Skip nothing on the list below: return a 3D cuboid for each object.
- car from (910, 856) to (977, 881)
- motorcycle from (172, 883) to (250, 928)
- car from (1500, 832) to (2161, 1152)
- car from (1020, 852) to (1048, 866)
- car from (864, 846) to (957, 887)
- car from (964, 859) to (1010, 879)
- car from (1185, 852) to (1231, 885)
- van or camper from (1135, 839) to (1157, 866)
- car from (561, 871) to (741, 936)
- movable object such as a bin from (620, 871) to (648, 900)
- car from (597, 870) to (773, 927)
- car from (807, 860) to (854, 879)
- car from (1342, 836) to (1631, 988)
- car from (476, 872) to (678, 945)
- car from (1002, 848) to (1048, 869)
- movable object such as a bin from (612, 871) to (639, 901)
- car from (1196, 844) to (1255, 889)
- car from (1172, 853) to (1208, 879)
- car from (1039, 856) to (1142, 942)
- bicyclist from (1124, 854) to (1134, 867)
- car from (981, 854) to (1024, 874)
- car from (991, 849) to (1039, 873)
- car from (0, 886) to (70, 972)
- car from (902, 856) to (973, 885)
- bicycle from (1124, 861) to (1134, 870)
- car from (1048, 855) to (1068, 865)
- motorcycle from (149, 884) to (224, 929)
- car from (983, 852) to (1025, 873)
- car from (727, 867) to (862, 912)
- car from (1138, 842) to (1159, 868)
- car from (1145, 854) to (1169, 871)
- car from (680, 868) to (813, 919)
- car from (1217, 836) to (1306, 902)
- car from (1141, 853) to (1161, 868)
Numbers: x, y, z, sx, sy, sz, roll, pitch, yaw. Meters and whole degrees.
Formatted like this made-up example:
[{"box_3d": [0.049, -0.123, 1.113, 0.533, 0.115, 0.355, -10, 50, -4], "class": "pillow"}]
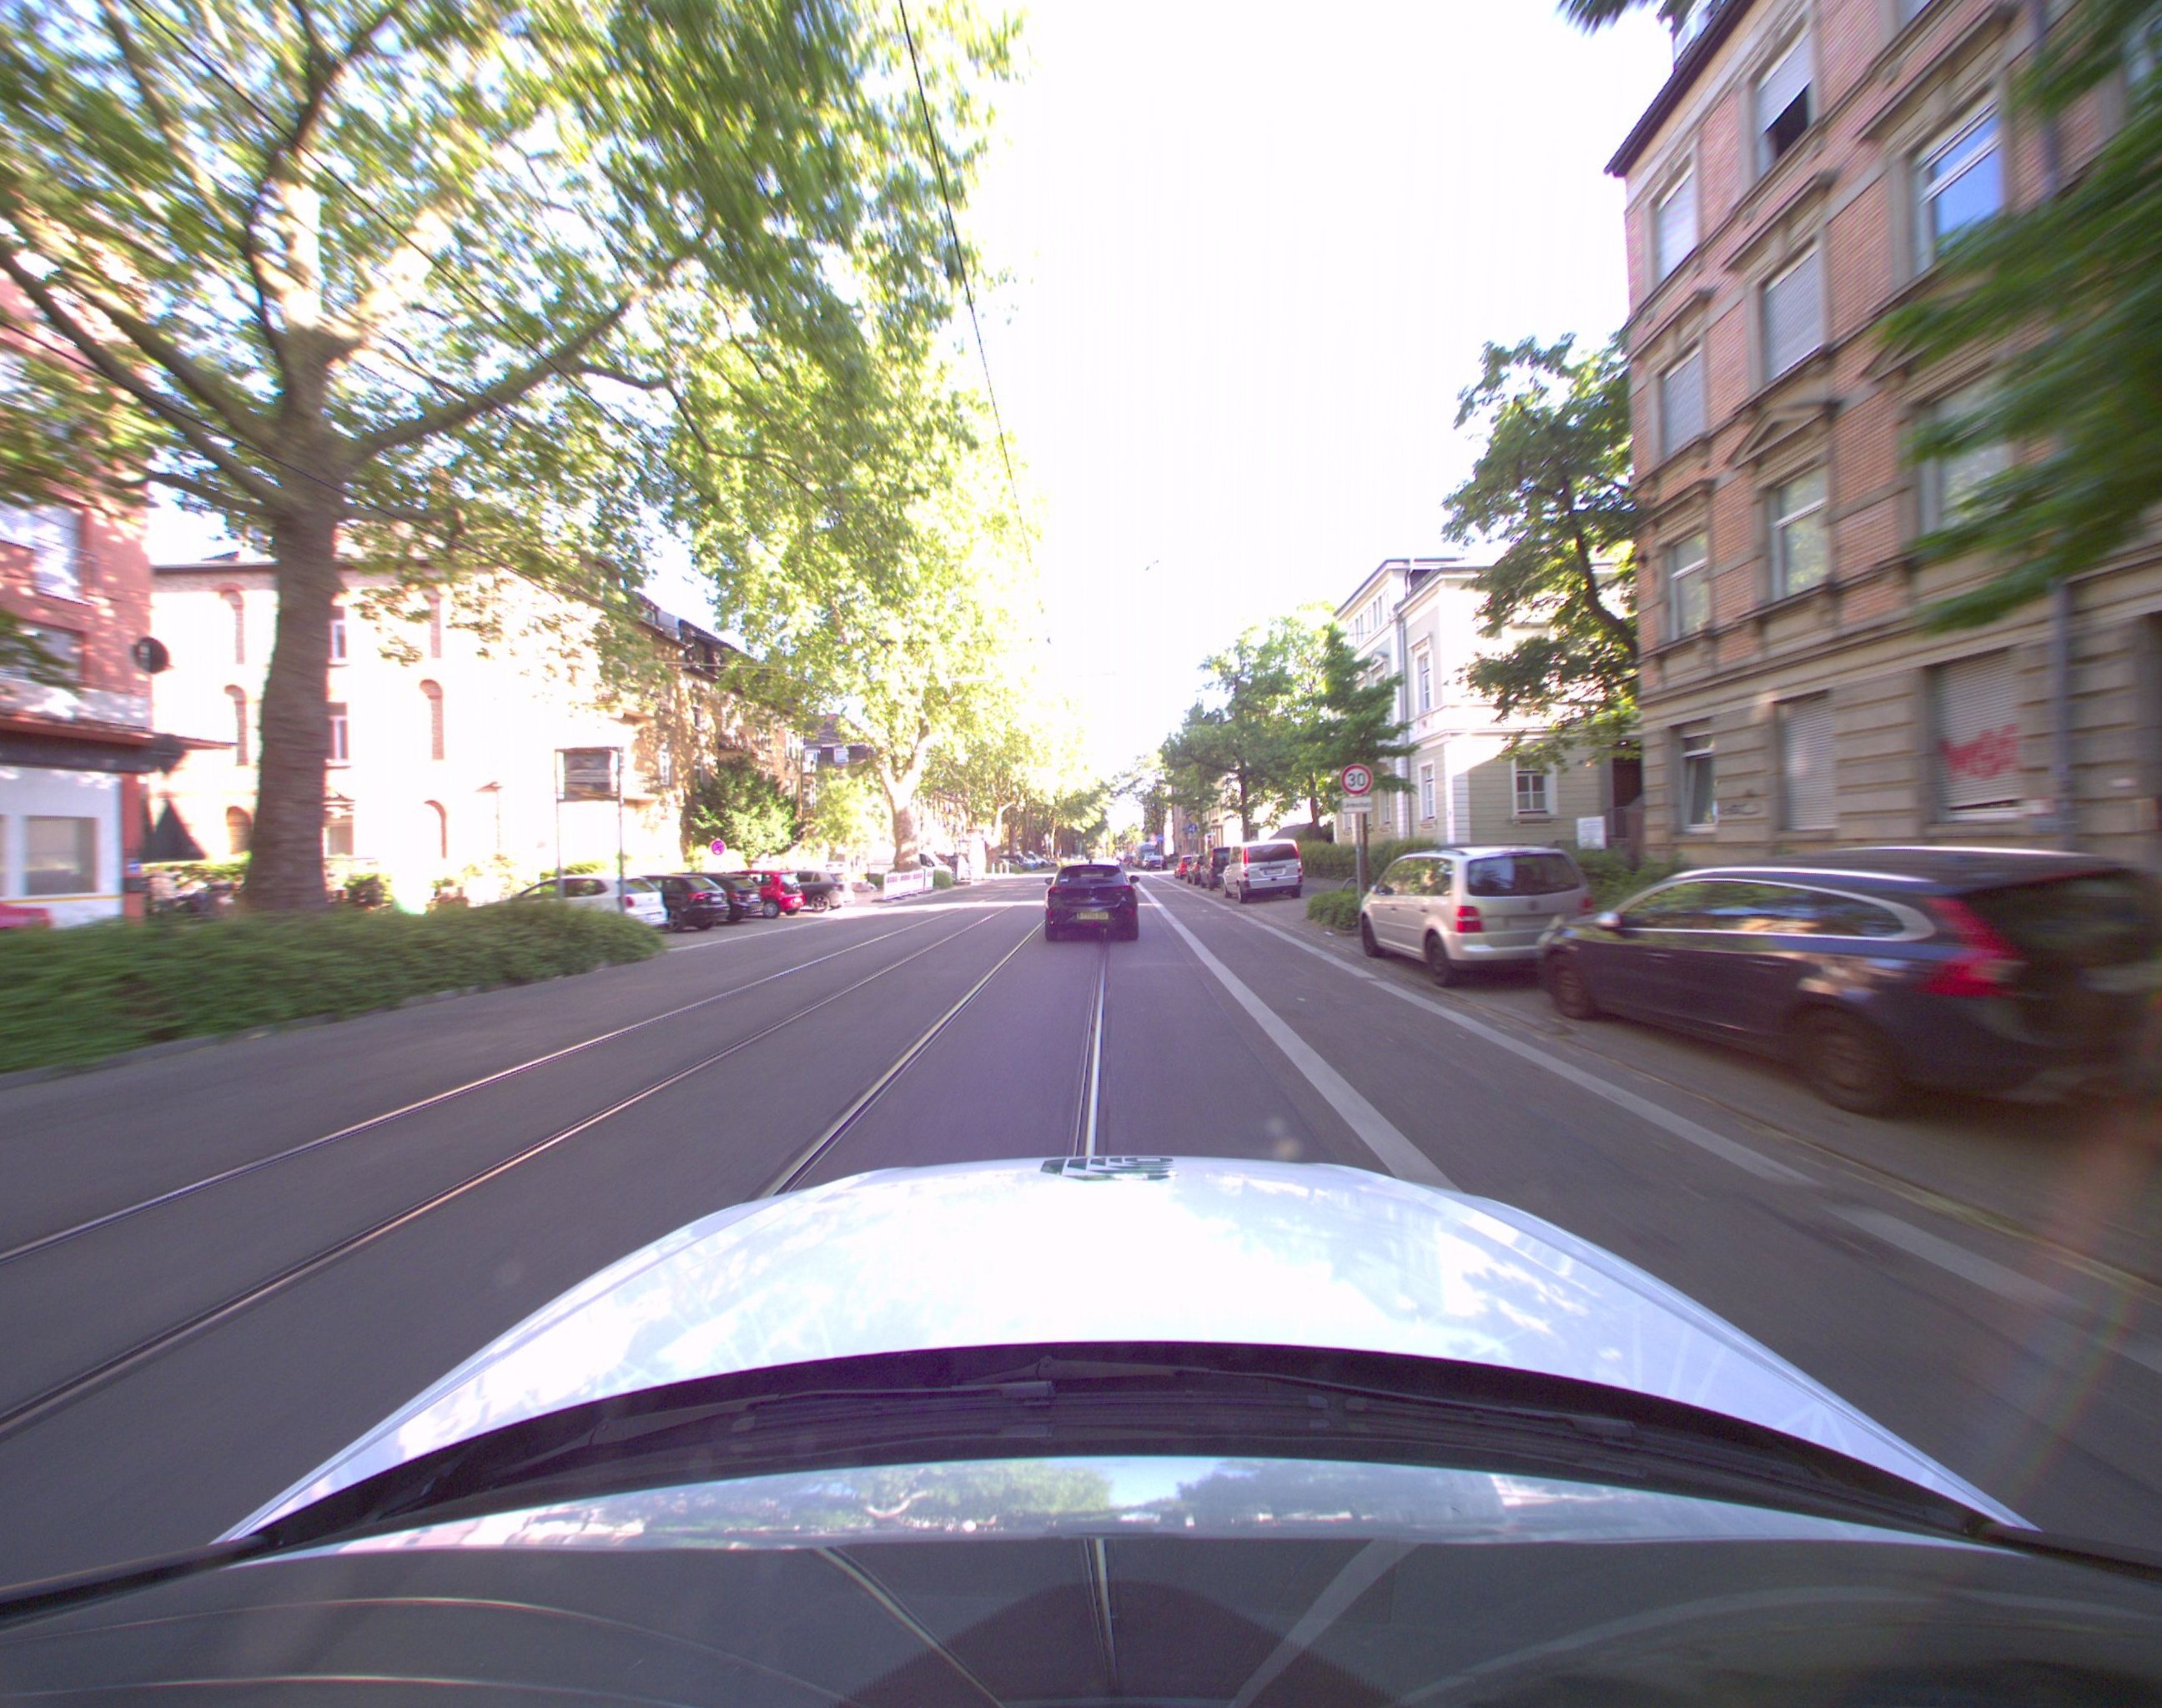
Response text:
[{"box_3d": [-9.513, 0.994, 56.416, 4.286, 1.607, 1.925, -1, 0, -1], "class": "car"}, {"box_3d": [-26.999, 1.572, 25.315, 0.639, 1.303, 1.628, -1, 0, 2], "class": "motorcycle"}, {"box_3d": [5.393, 0.681, 6.322, 1.878, 1.467, 4.594, -4, 0, 0], "class": "car"}, {"box_3d": [-6.905, 0.753, 119.763, 3.983, 2.014, 1.995, -1, 0, -7], "class": "car"}, {"box_3d": [-9.952, 0.724, 47.883, 5.019, 2.259, 2.084, -1, 0, -2], "class": "car"}, {"box_3d": [-9.162, 1.468, 79.830, 4.294, 1.593, 1.779, -5, -1, -6], "class": "car"}, {"box_3d": [6.425, 0.709, 41.524, 1.706, 1.514, 4.037, -4, 0, 1], "class": "car"}, {"box_3d": [7.961, -0.173, 100.453, 2.245, 3.216, 5.533, -3, 0, 2], "class": "van or camper"}, {"box_3d": [-10.637, 1.205, 20.305, 3.585, 1.465, 1.688, -1, 0, 4], "class": "car"}, {"box_3d": [-17.326, 1.220, 31.571, 0.720, 1.109, 0.561, -1, 0, 3], "class": "movable object such as a bin"}, {"box_3d": [-11.140, 1.239, 23.081, 4.064, 1.465, 1.822, -1, 0, 4], "class": "car"}, {"box_3d": [-21.981, 1.314, 71.753, 1.843, 1.592, 4.756, -1, 0, 12], "class": "car"}, {"box_3d": [5.187, 0.654, 11.175, 1.877, 1.568, 4.244, -4, 0, 2], "class": "car"}, {"box_3d": [-11.011, 1.177, 17.944, 3.404, 1.465, 1.699, -1, 0, 4], "class": "car"}, {"box_3d": [-7.312, 0.590, 106.407, 5.611, 2.593, 2.199, -1, 0, 5], "class": "car"}, {"box_3d": [-17.339, 1.216, 30.995, 0.721, 1.109, 0.543, -1, -1, 3], "class": "movable object such as a bin"}, {"box_3d": [6.265, 0.517, 35.827, 1.878, 1.766, 4.680, -2, 0, 2], "class": "car"}, {"box_3d": [6.730, 0.722, 50.537, 1.696, 1.423, 3.980, -5, 0, 2], "class": "car"}, {"box_3d": [0.250, 0.782, 16.040, 1.756, 1.460, 3.952, -1, 0, 2], "class": "car"}, {"box_3d": [5.348, 0.728, 90.659, 0.955, 1.499, 1.094, -1, 0, 0], "class": "bicyclist"}, {"box_3d": [-8.171, 1.005, 84.668, 4.294, 1.674, 1.779, -5, -1, -6], "class": "car"}, {"box_3d": [-7.553, 0.787, 93.686, 5.017, 2.374, 2.082, -5, -1, 2], "class": "car"}, {"box_3d": [-20.212, 1.364, 13.453, 1.940, 1.487, 4.003, -1, 0, 3], "class": "car"}, {"box_3d": [-9.439, 1.081, 53.777, 4.286, 1.801, 1.925, -1, 0, -1], "class": "car"}, {"box_3d": [5.360, 1.283, 90.675, 0.964, 0.999, 2.583, -1, 0, 1], "class": "bicycle"}, {"box_3d": [-4.751, 1.186, 169.068, 3.964, 2.014, 2.005, -1, 0, 8], "class": "car"}, {"box_3d": [-27.790, 1.623, 25.338, 0.591, 1.288, 1.563, -1, 0, 2], "class": "motorcycle"}, {"box_3d": [-8.254, 0.905, 87.002, 4.294, 1.840, 1.779, -5, -1, -6], "class": "car"}, {"box_3d": [-9.912, 1.211, 28.380, 3.972, 1.465, 1.855, -1, 0, 1], "class": "car"}, {"box_3d": [7.745, 0.081, 93.887, 2.077, 2.772, 4.700, -3, 0, 2], "class": "car"}, {"box_3d": [7.107, 0.781, 76.495, 1.877, 1.434, 4.532, -4, 0, 2], "class": "car"}, {"box_3d": [-10.425, 1.218, 25.544, 3.404, 1.465, 1.761, -1, 0, 4], "class": "car"}, {"box_3d": [5.809, 0.463, 26.825, 1.877, 1.851, 4.970, -4, 0, 2], "class": "car"}, {"box_3d": [7.440, 0.722, 86.681, 1.796, 1.434, 4.002, -3, -1, 2], "class": "car"}]
